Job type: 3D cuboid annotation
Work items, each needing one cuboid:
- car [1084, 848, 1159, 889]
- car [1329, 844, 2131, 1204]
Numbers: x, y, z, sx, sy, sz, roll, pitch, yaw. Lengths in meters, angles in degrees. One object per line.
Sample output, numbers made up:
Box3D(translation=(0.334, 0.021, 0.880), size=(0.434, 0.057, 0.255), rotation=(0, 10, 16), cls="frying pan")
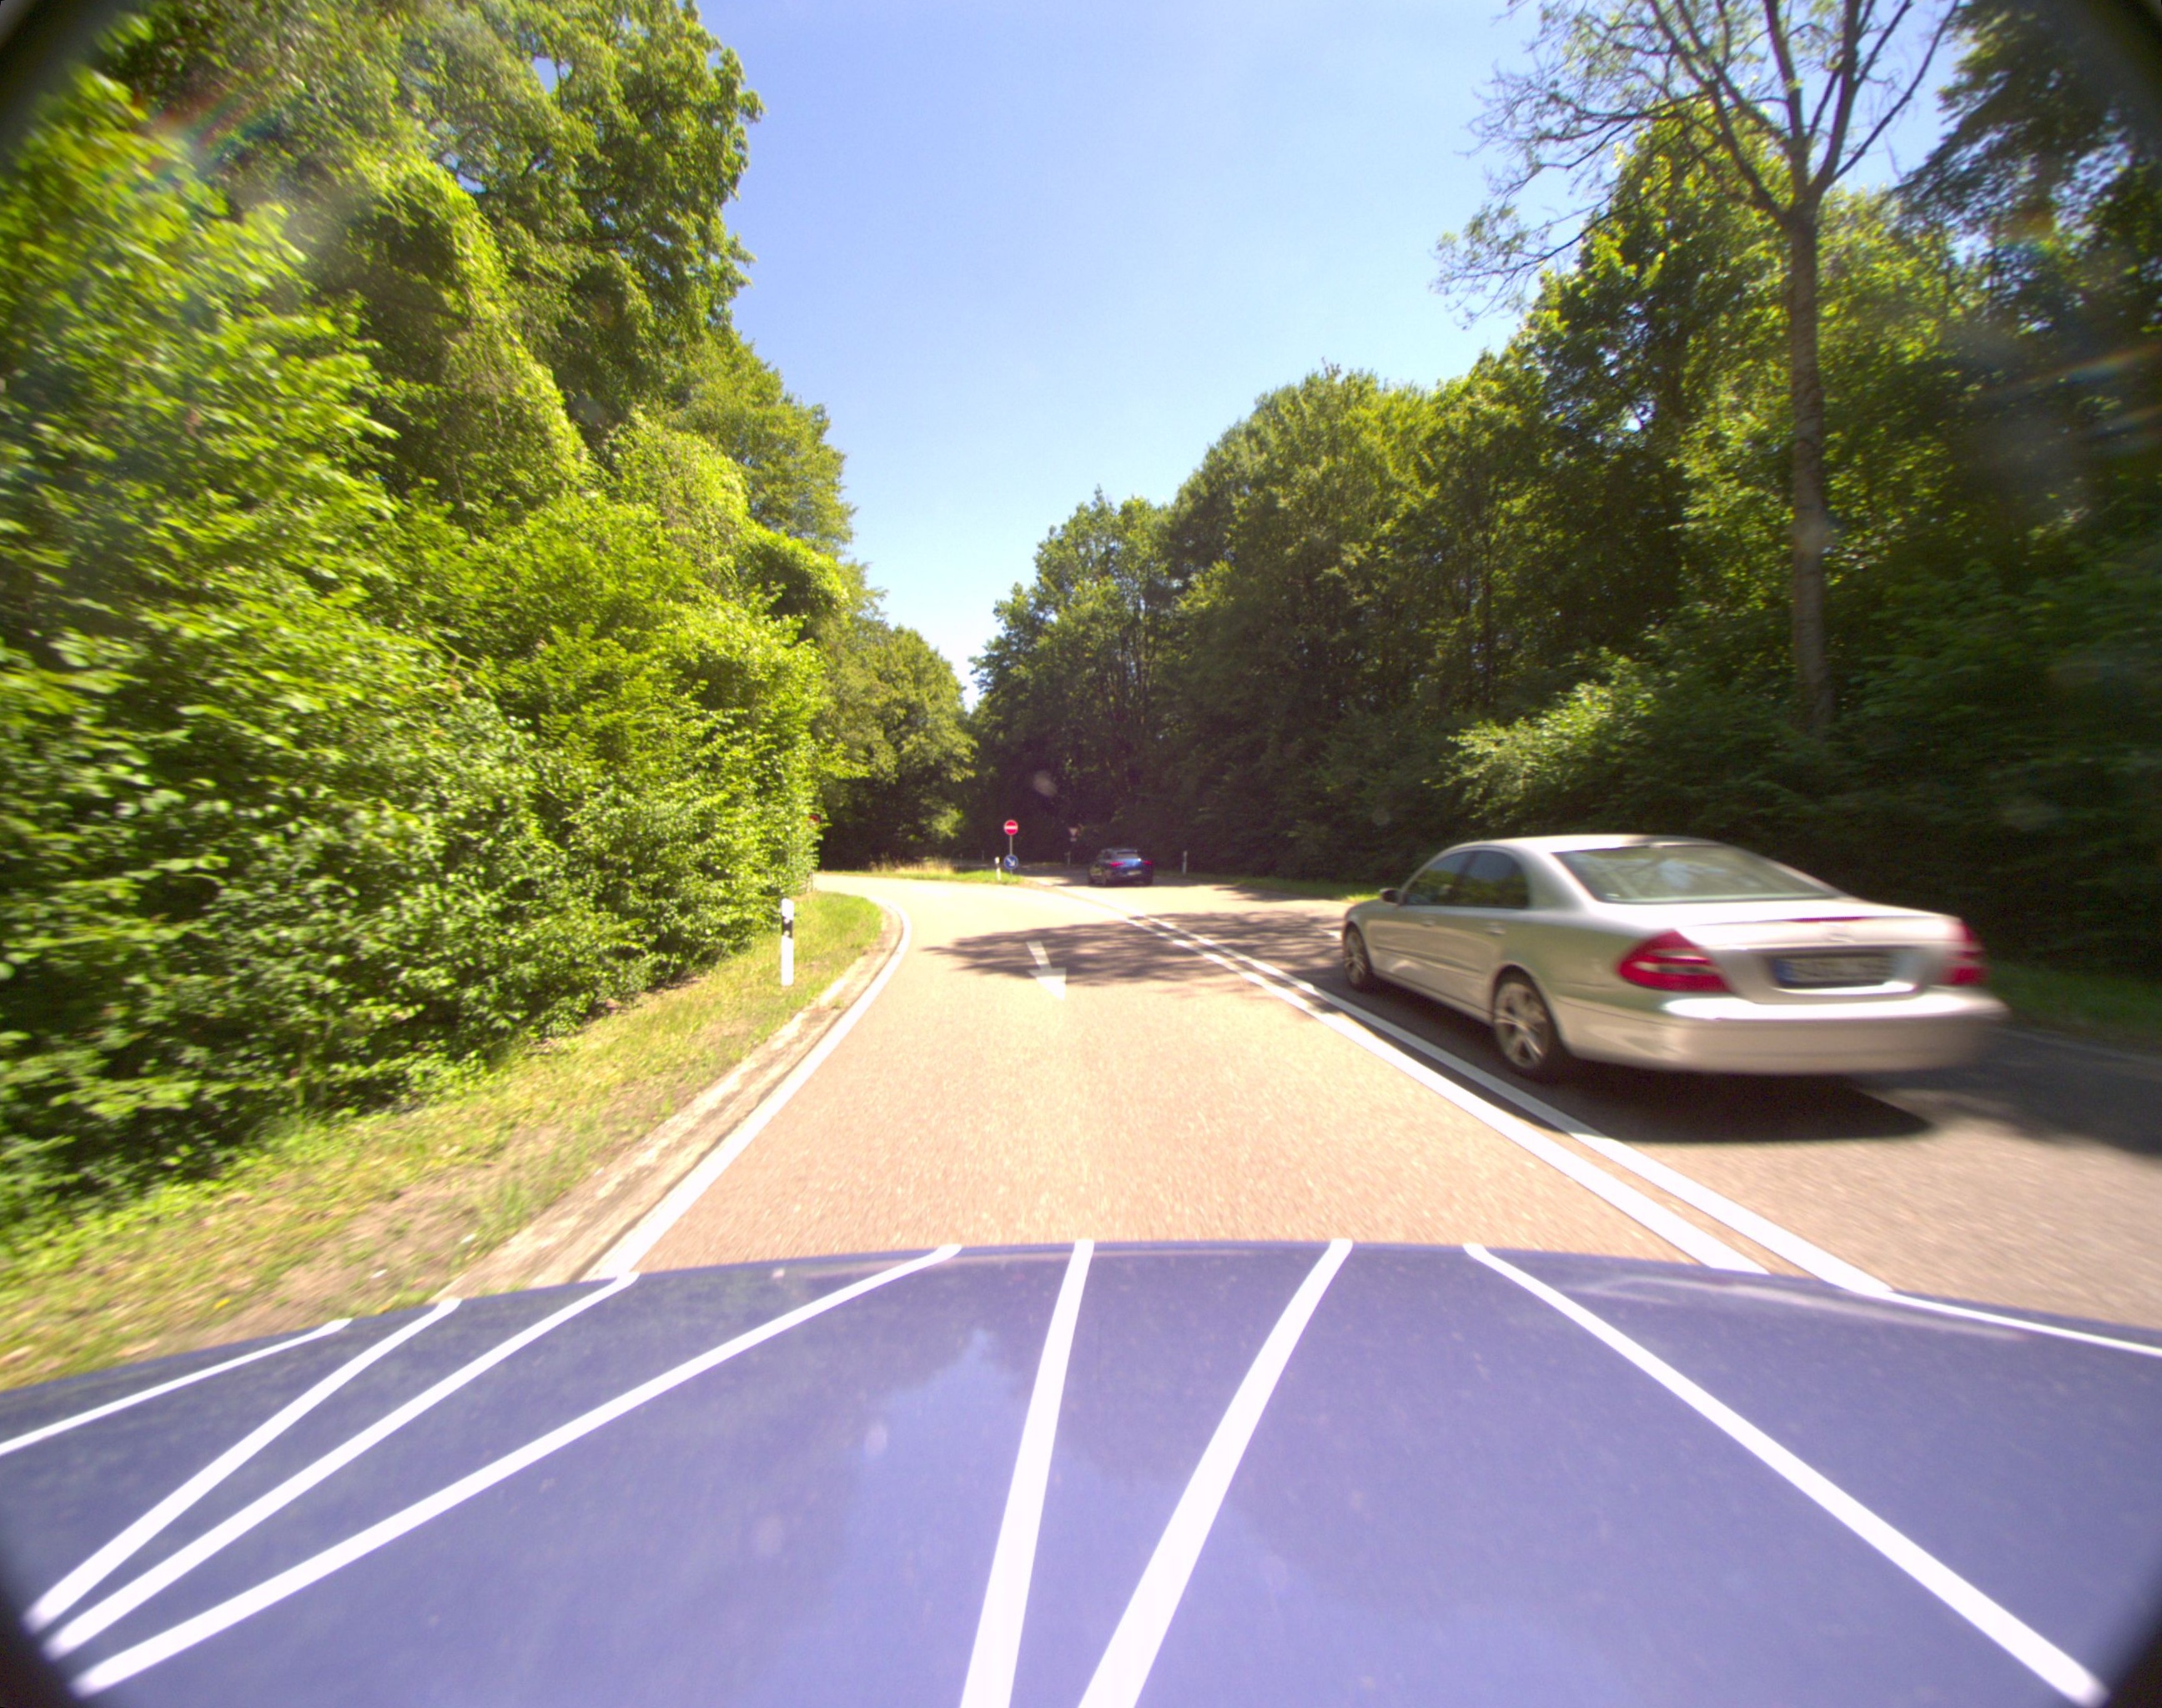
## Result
Box3D(translation=(1.467, 0.486, 29.188), size=(1.795, 1.398, 4.355), rotation=(-1, 1, -12), cls="car")
Box3D(translation=(3.490, 0.690, 5.576), size=(1.850, 1.477, 4.764), rotation=(-1, 1, 1), cls="car")
